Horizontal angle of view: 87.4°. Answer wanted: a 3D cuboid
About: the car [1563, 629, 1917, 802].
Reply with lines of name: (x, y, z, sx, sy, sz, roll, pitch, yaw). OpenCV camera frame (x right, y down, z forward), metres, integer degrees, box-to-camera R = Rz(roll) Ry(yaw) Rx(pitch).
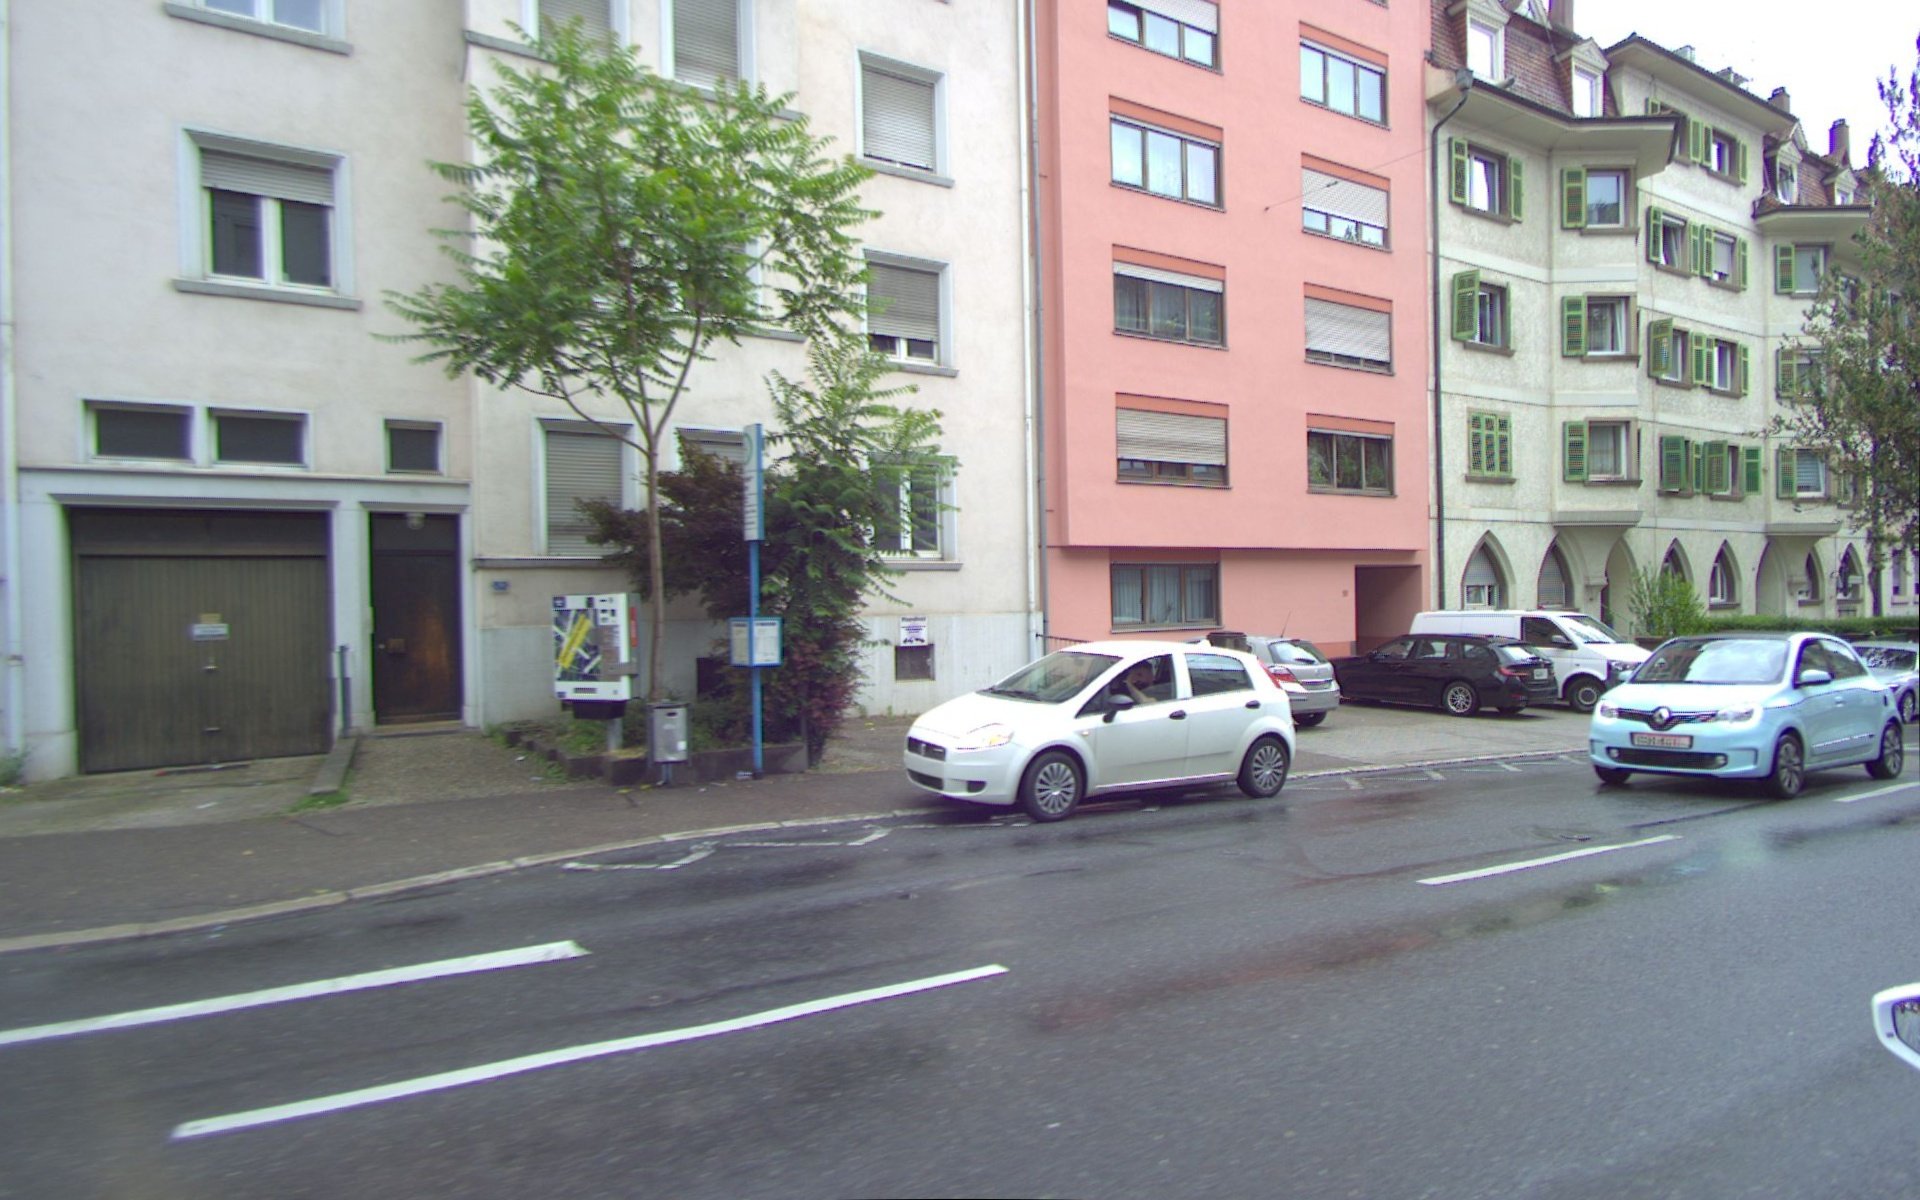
car: (8.216, 1.101, 10.541, 3.710, 1.528, 1.629, 1, -4, -30)

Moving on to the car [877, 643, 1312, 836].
car: (1.342, 1.168, 9.569, 3.956, 1.465, 1.614, 1, -1, -29)

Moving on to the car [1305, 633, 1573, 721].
car: (8.996, 1.376, 19.278, 1.772, 1.471, 4.408, 1, -2, -32)

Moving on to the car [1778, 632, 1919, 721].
car: (18.023, 1.446, 19.709, 3.941, 1.503, 1.718, 2, 1, -29)

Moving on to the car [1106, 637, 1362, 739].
car: (4.414, 1.349, 16.675, 1.775, 1.476, 3.854, 1, -2, -37)

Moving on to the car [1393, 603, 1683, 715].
car: (11.605, 1.127, 20.576, 2.023, 2.000, 4.808, 1, -2, -29)
